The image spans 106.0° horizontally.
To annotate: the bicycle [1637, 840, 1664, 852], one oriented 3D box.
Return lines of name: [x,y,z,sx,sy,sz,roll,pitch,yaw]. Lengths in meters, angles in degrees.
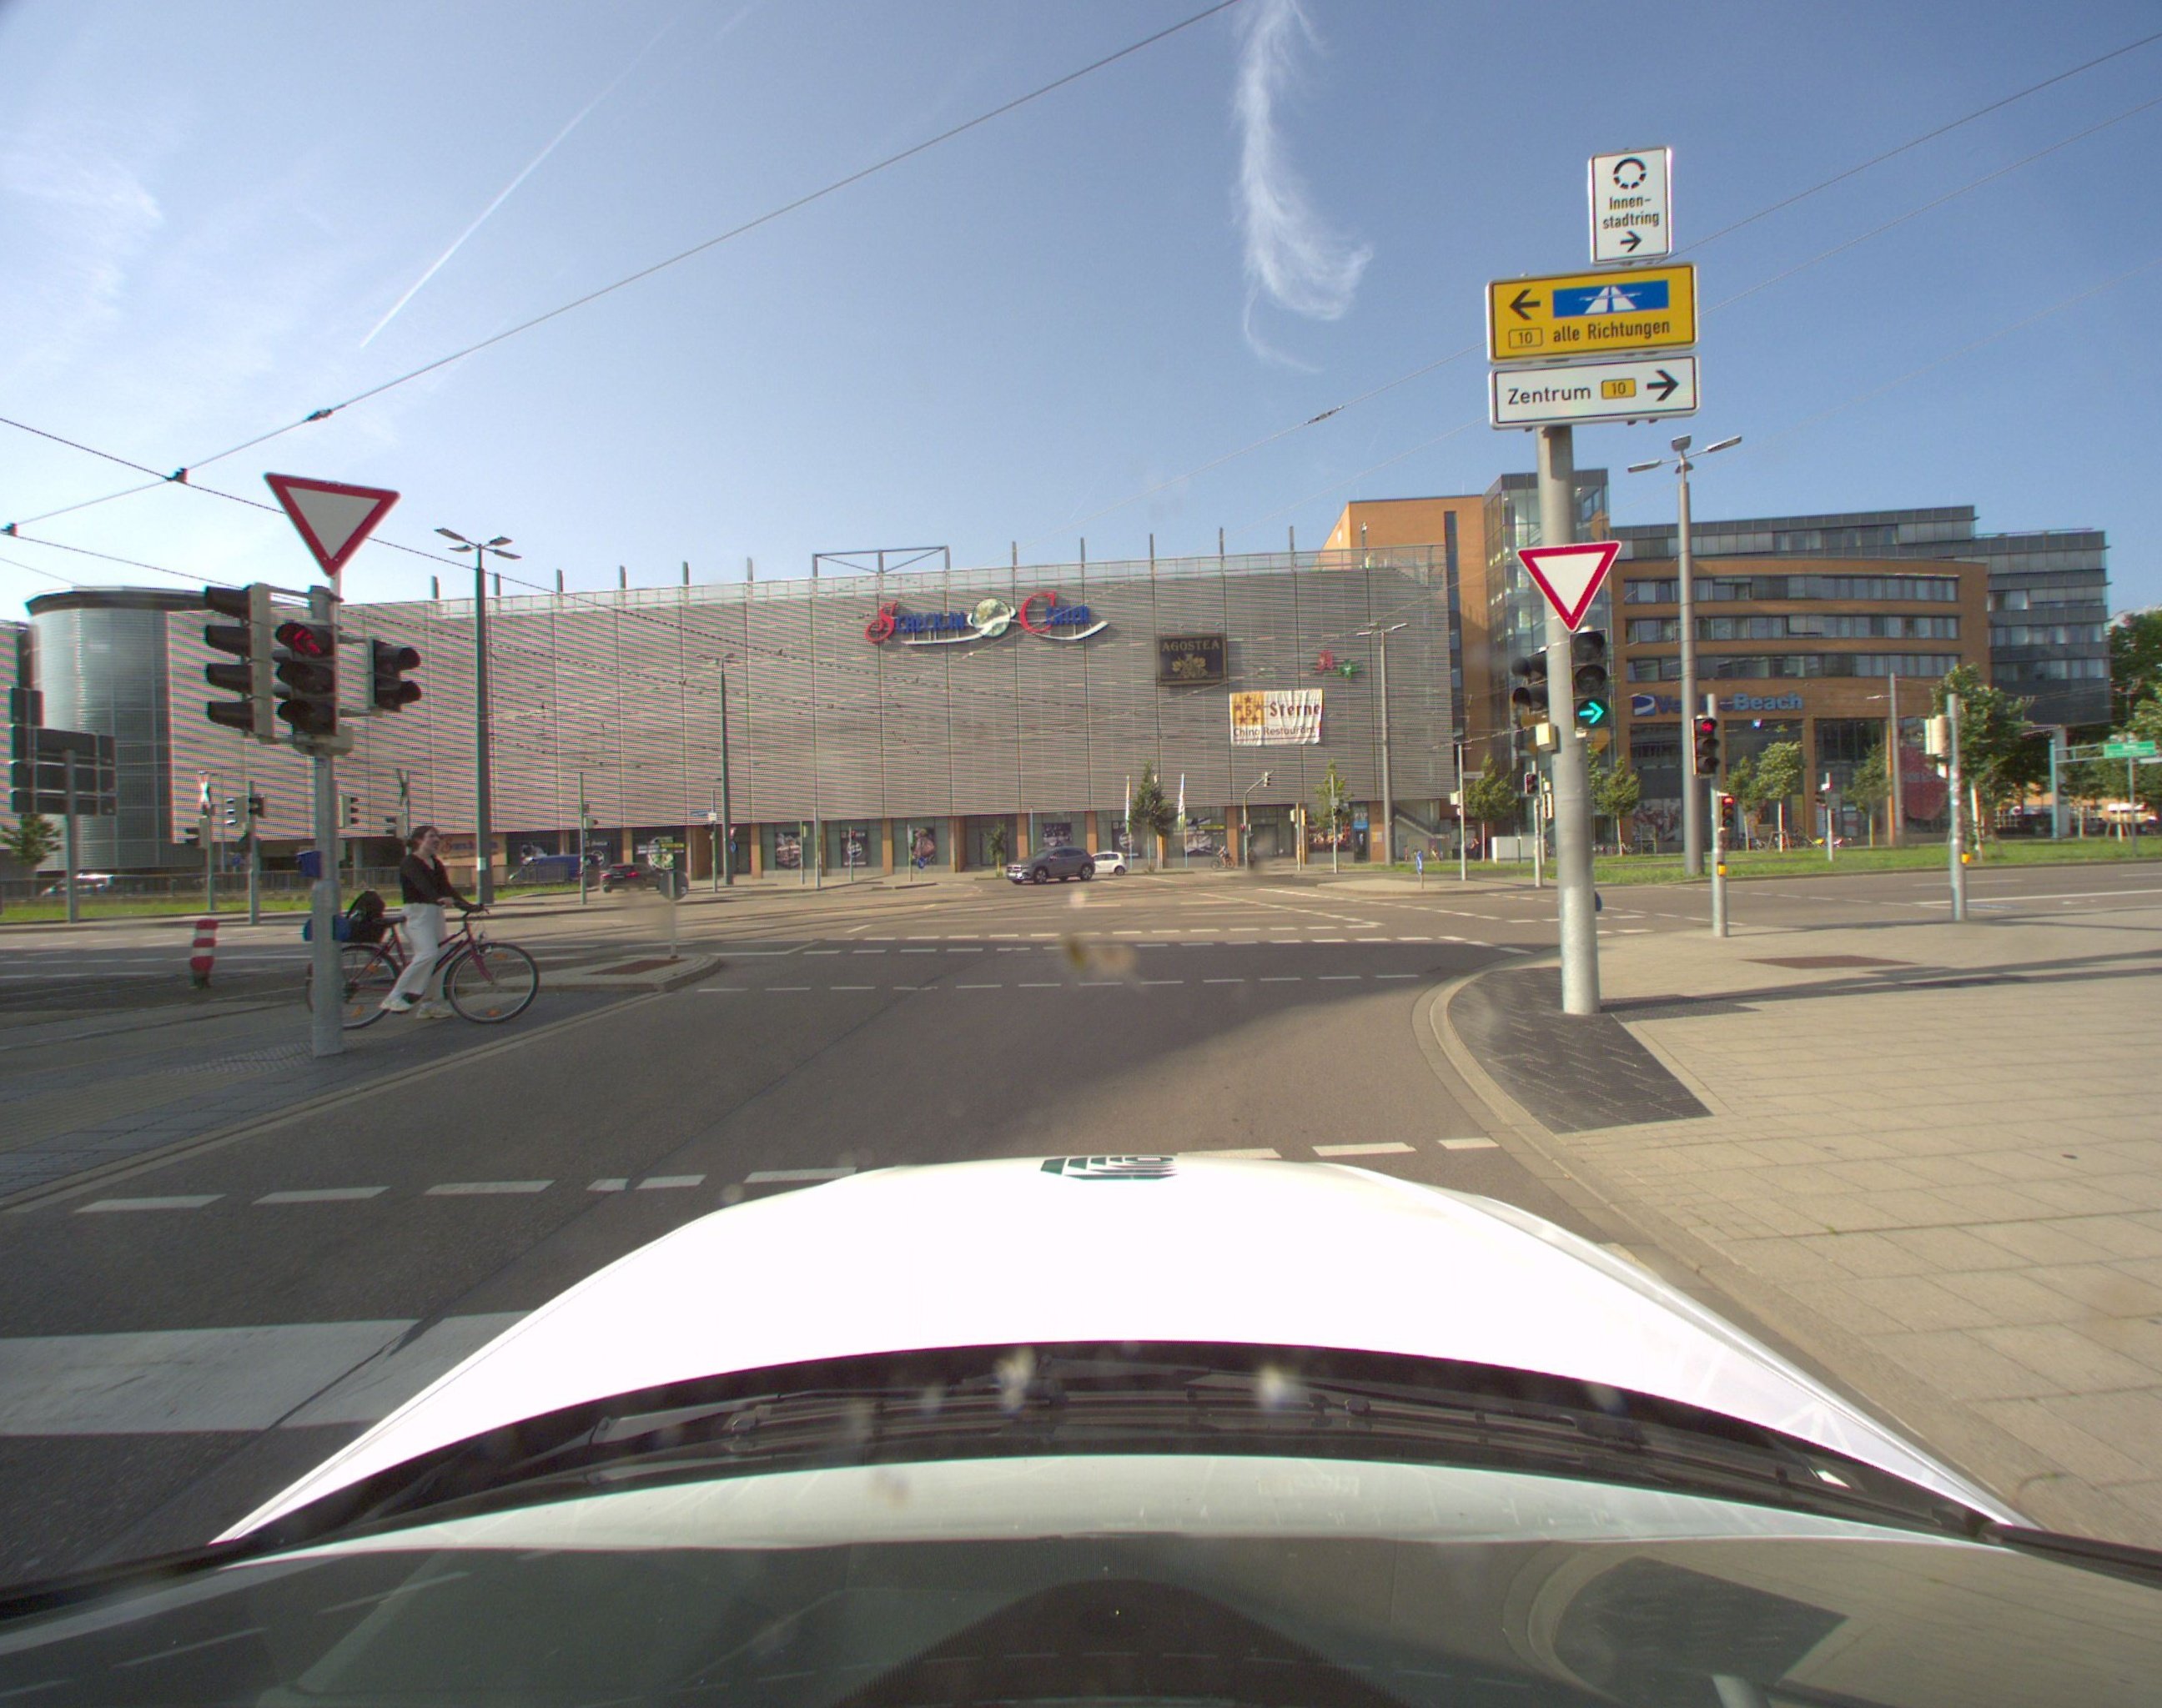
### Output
bicycle: [44.624,-0.639,63.835,0.570,0.921,2.054,-2,0,-1]

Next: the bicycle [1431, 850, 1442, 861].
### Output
bicycle: [25.951,0.099,59.443,0.358,0.752,1.026,-2,0,5]

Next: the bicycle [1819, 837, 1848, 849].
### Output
bicycle: [59.804,-0.893,64.746,0.378,0.921,2.054,-2,0,-1]

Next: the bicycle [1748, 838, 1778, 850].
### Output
bicycle: [53.888,-0.756,64.362,0.570,0.921,2.054,-2,0,-1]

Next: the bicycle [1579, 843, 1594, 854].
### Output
bicycle: [37.857,-0.405,61.009,0.255,0.830,1.468,0,2,0]

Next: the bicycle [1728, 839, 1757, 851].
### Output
bicycle: [52.127,-0.711,64.186,0.570,0.921,2.054,-2,0,-1]

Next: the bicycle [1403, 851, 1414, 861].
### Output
bicycle: [23.990,0.134,59.601,0.448,0.752,1.008,-2,0,5]

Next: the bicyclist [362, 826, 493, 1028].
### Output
bicyclist: [-5.785,0.614,7.246,0.634,1.703,0.668,0,-1,-7]

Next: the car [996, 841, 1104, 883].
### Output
car: [-1.358,0.363,37.040,4.841,1.783,1.932,0,-1,-43]

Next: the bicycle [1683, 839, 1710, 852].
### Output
bicycle: [48.277,-0.663,63.913,0.570,0.921,2.054,-2,0,-1]

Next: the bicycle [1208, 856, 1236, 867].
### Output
bicycle: [9.909,0.505,57.389,1.857,0.779,0.582,0,-1,0]

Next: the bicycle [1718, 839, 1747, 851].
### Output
bicycle: [51.287,-0.711,64.164,0.570,0.921,2.054,-2,0,-1]

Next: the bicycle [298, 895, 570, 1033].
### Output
bicycle: [-5.688,0.939,7.255,1.797,1.098,0.668,0,-1,-7]

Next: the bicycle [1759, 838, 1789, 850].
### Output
bicycle: [54.744,-0.787,64.396,0.570,0.921,2.054,-2,0,-1]

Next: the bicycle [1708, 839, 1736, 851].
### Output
bicycle: [50.422,-0.677,64.066,0.570,0.921,2.054,-2,0,-1]

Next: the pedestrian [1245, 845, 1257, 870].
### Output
pedestrian: [11.135,0.245,53.333,0.586,1.579,0.763,-2,-1,0]

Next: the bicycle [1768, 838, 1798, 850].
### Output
bicycle: [55.623,-0.781,64.524,0.570,0.921,2.054,-2,0,-1]

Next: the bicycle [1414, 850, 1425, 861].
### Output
bicycle: [24.772,0.098,59.530,0.448,0.752,1.008,-2,0,5]

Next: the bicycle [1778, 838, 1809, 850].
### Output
bicycle: [56.513,-0.815,64.615,0.570,0.921,2.054,-2,0,-1]

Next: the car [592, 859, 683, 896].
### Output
car: [-22.364,1.131,41.284,1.982,1.695,4.009,-2,0,8]

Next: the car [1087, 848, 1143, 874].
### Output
car: [2.141,0.407,50.812,3.377,1.559,1.745,0,0,3]

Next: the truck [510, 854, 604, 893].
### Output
truck: [-33.517,1.216,52.190,4.523,2.322,2.207,-2,0,-1]

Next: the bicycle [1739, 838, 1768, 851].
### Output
bicycle: [53.035,-0.736,64.246,0.570,0.921,2.054,-2,0,-1]

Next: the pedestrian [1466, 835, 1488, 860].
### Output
pedestrian: [28.640,-0.466,58.969,1.167,1.719,0.821,-2,0,4]

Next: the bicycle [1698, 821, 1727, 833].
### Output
bicycle: [49.628,-2.117,64.014,0.570,0.921,2.054,-2,0,-1]

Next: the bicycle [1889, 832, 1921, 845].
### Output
bicycle: [60.214,-1.139,59.561,0.704,0.907,1.683,-1,0,4]

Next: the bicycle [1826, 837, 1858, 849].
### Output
bicycle: [60.534,-0.897,64.816,0.570,0.921,2.054,-2,0,-1]

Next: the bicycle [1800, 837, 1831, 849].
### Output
bicycle: [58.180,-0.837,64.529,0.570,0.921,2.054,-2,0,-1]

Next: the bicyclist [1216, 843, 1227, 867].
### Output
bicyclist: [9.909,0.062,57.403,0.709,1.630,0.569,0,-1,2]

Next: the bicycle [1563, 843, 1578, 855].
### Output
bicycle: [36.657,-0.381,60.985,0.255,0.886,1.468,0,-1,0]
